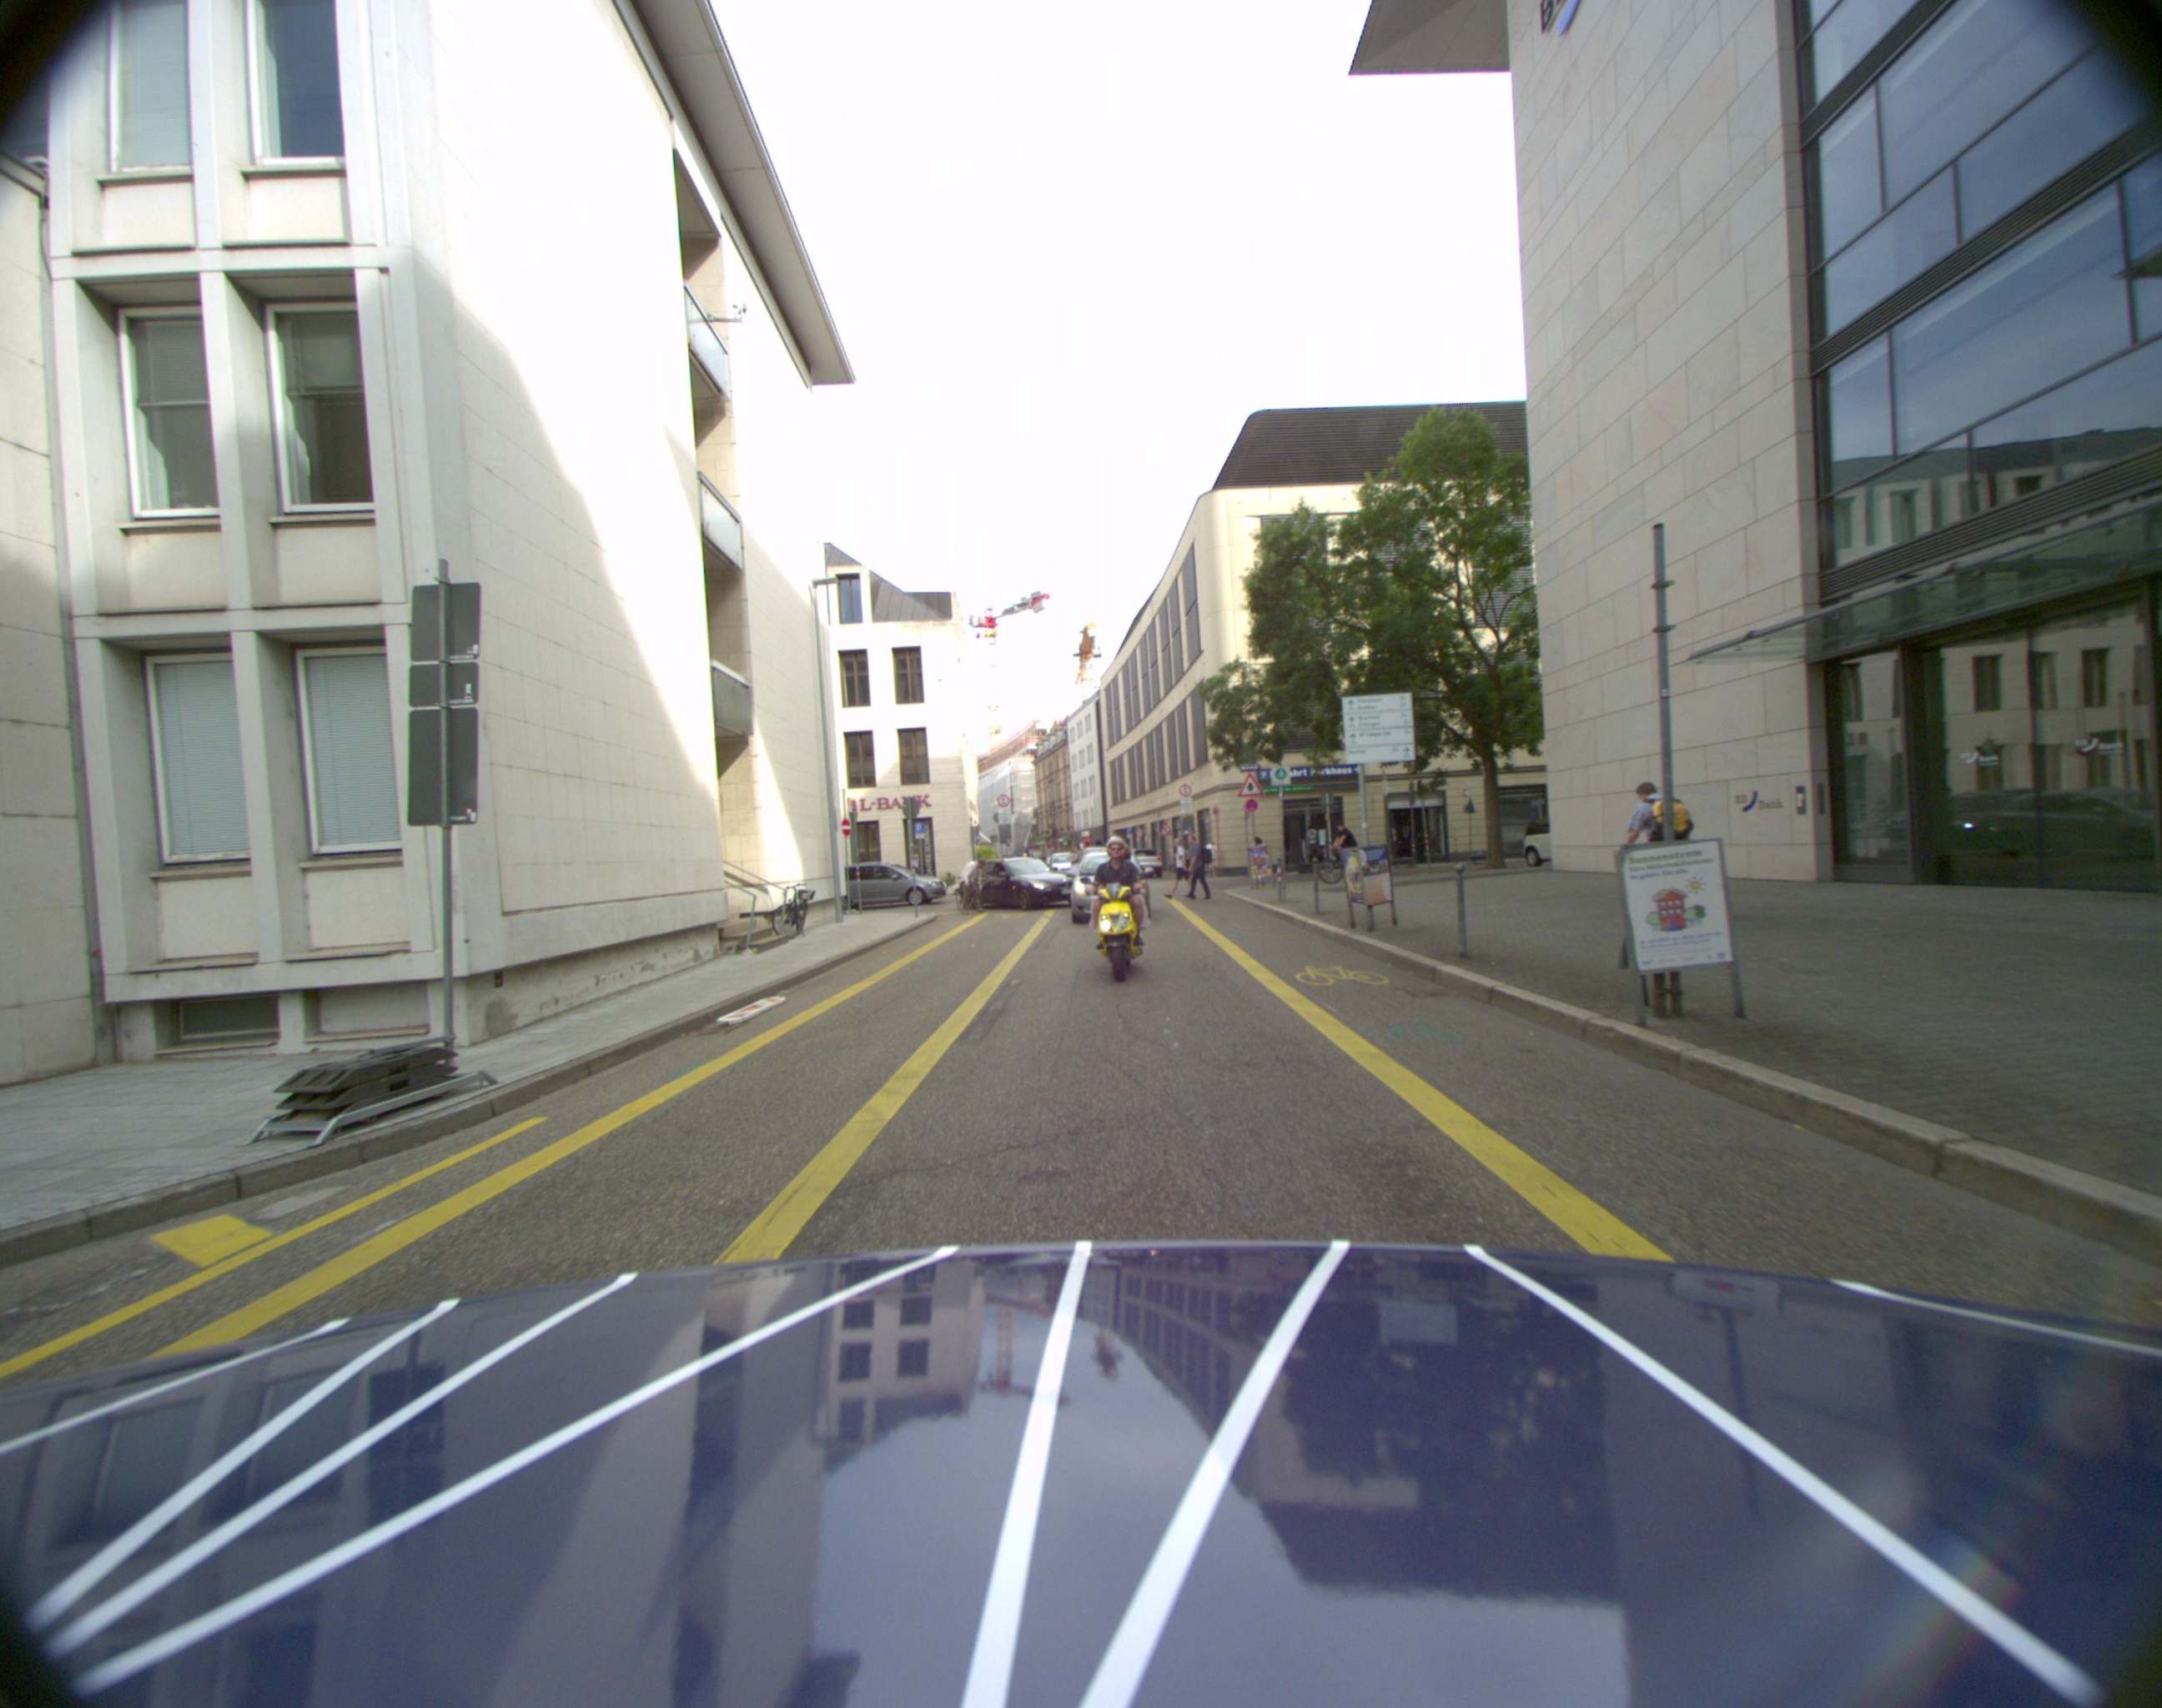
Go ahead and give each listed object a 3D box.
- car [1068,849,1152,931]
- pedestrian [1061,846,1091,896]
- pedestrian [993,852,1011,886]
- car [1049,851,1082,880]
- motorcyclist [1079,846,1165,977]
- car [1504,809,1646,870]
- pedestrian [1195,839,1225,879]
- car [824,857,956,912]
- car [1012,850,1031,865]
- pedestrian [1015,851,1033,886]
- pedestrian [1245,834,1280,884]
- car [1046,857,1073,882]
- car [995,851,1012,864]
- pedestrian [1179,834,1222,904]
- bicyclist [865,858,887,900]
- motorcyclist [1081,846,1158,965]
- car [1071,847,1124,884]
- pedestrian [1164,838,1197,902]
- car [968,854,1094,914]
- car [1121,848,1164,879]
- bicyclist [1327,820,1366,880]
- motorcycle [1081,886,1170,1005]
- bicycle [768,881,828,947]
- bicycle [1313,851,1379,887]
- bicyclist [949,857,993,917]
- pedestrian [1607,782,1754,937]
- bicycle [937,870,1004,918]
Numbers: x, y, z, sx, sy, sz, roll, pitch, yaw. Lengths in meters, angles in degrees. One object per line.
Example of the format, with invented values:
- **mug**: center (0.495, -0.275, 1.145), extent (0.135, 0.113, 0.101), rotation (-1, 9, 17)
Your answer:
- **car**: center (0.665, 0.704, 16.913), extent (1.562, 1.482, 3.784), rotation (-4, 1, 3)
- **pedestrian**: center (-0.195, 0.629, 28.694), extent (0.774, 1.820, 0.860), rotation (-4, 2, -19)
- **pedestrian**: center (-4.410, 0.842, 42.530), extent (0.861, 1.820, 0.773), rotation (-3, 2, -5)
- **car**: center (-0.979, 0.667, 45.345), extent (1.563, 1.548, 4.100), rotation (-4, 1, -6)
- **motorcyclist**: center (0.473, 0.646, 9.090), extent (0.924, 1.445, 1.065), rotation (-2, 1, 1)
- **car**: center (16.091, -0.406, 25.031), extent (1.899, 1.682, 3.964), rotation (-3, -2, -2)
- **pedestrian**: center (6.063, 0.234, 35.769), extent (0.893, 1.755, 1.059), rotation (-7, 1, -10)
- **car**: center (-6.797, 1.070, 27.356), extent (4.193, 1.581, 1.815), rotation (-4, 1, -1)
- **car**: center (-6.630, 0.380, 84.420), extent (1.590, 1.477, 3.995), rotation (-3, 1, -12)
- **pedestrian**: center (-3.126, 0.783, 41.791), extent (0.861, 1.820, 0.773), rotation (-3, 2, -4)
- **pedestrian**: center (6.519, 0.171, 27.331), extent (0.879, 1.699, 0.910), rotation (-7, 1, 1)
- **car**: center (-1.479, 0.991, 51.154), extent (1.589, 1.477, 3.998), rotation (-3, 1, -4)
- **car**: center (-9.722, 0.373, 94.822), extent (1.590, 1.477, 3.995), rotation (-3, 1, -12)
- **pedestrian**: center (3.270, 0.394, 20.799), extent (0.745, 1.804, 0.756), rotation (-7, 2, -10)
- **bicyclist**: center (-8.006, 0.976, 29.711), extent (0.586, 1.586, 0.663), rotation (-3, 2, -1)
- **motorcyclist**: center (0.483, 0.635, 9.742), extent (0.903, 1.445, 0.742), rotation (-2, 1, 1)
- **car**: center (0.687, 0.472, 34.423), extent (1.710, 1.482, 4.100), rotation (-4, 1, -7)
- **pedestrian**: center (2.830, 0.442, 21.698), extent (0.644, 1.755, 0.653), rotation (-4, 1, -10)
- **car**: center (-1.513, 0.830, 21.726), extent (1.720, 1.482, 3.755), rotation (-5, 1, -37)
- **car**: center (3.406, 0.495, 42.532), extent (1.563, 1.548, 4.100), rotation (-4, 1, -6)
- **bicyclist**: center (7.474, -0.103, 21.417), extent (0.644, 1.610, 0.622), rotation (-6, 0, -23)
- **motorcycle**: center (0.490, 1.037, 9.286), extent (0.929, 1.159, 2.127), rotation (-2, 0, 1)
- **bicycle**: center (-5.809, 1.200, 15.695), extent (0.590, 1.161, 1.814), rotation (-3, 1, -3)
- **bicycle**: center (7.469, 0.418, 21.411), extent (1.726, 0.829, 0.601), rotation (-6, -2, -23)
- **bicyclist**: center (-3.111, 0.914, 21.424), extent (0.894, 1.585, 0.875), rotation (-4, 2, -29)
- **pedestrian**: center (7.275, 0.061, 9.270), extent (1.028, 1.710, 0.818), rotation (-5, 1, 2)
- **bicycle**: center (-3.170, 1.088, 21.540), extent (0.872, 1.188, 2.857), rotation (-4, 1, -29)
